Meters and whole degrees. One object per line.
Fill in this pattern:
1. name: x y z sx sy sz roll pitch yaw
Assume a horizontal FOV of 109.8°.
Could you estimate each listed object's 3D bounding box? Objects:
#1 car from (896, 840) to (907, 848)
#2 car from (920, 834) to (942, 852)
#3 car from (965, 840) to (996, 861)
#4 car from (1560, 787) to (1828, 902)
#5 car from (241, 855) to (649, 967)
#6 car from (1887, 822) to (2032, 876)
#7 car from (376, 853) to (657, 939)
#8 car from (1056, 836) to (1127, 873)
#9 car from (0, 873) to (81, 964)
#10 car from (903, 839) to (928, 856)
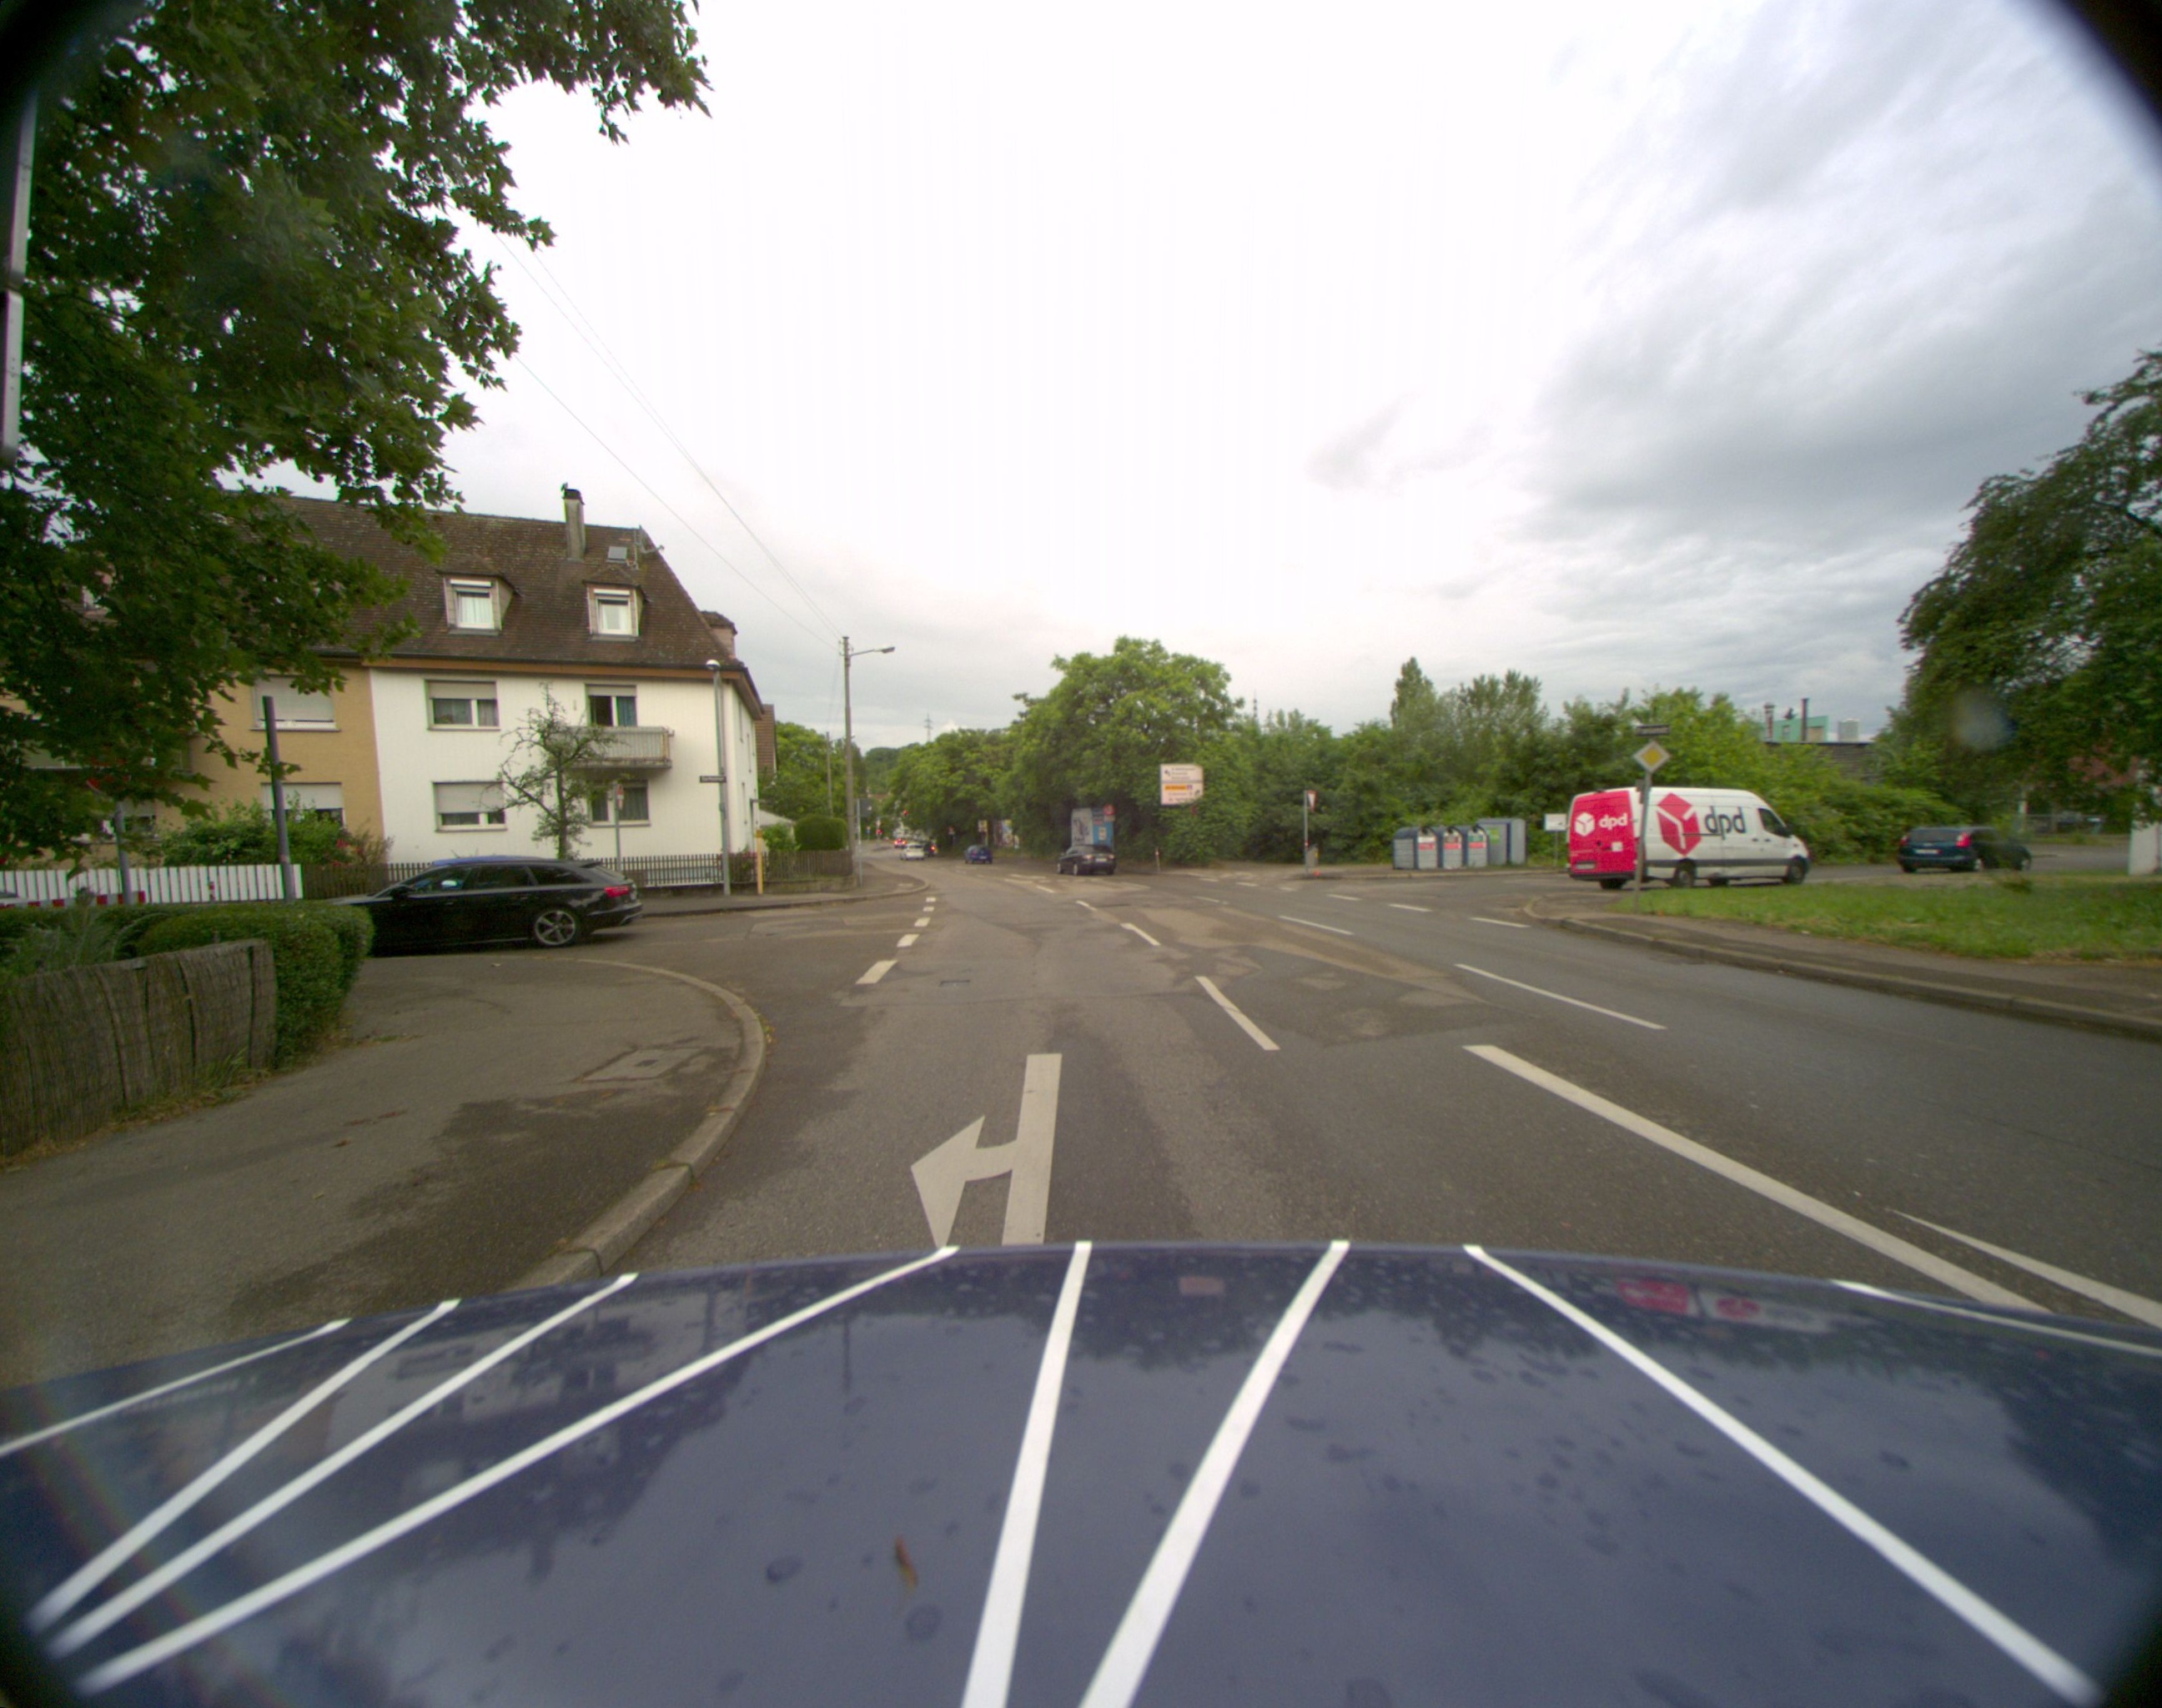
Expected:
1. car: -33.531 -1.822 141.588 1.902 1.453 3.994 -1 1 -14
2. car: -17.039 -1.268 86.119 1.965 1.920 4.675 -2 1 -17
3. car: -7.711 -0.250 58.314 1.604 1.417 3.691 -3 0 -19
4. car: 16.162 -0.350 20.035 6.829 2.641 2.258 -2 2 -20
5. car: -10.058 0.810 12.615 4.824 1.472 1.882 -1 1 -24
6. car: 30.139 -0.207 26.081 4.257 1.620 1.996 -3 2 -22
7. car: -11.125 0.759 15.354 4.130 1.472 1.883 -1 1 -17
8. car: 0.415 -0.001 35.122 1.849 1.560 4.404 -2 1 -19
9. car: -19.474 1.118 12.159 3.788 1.445 1.769 -2 1 -20
10. car: -16.197 -0.667 74.134 1.838 1.569 4.326 -2 1 -19
